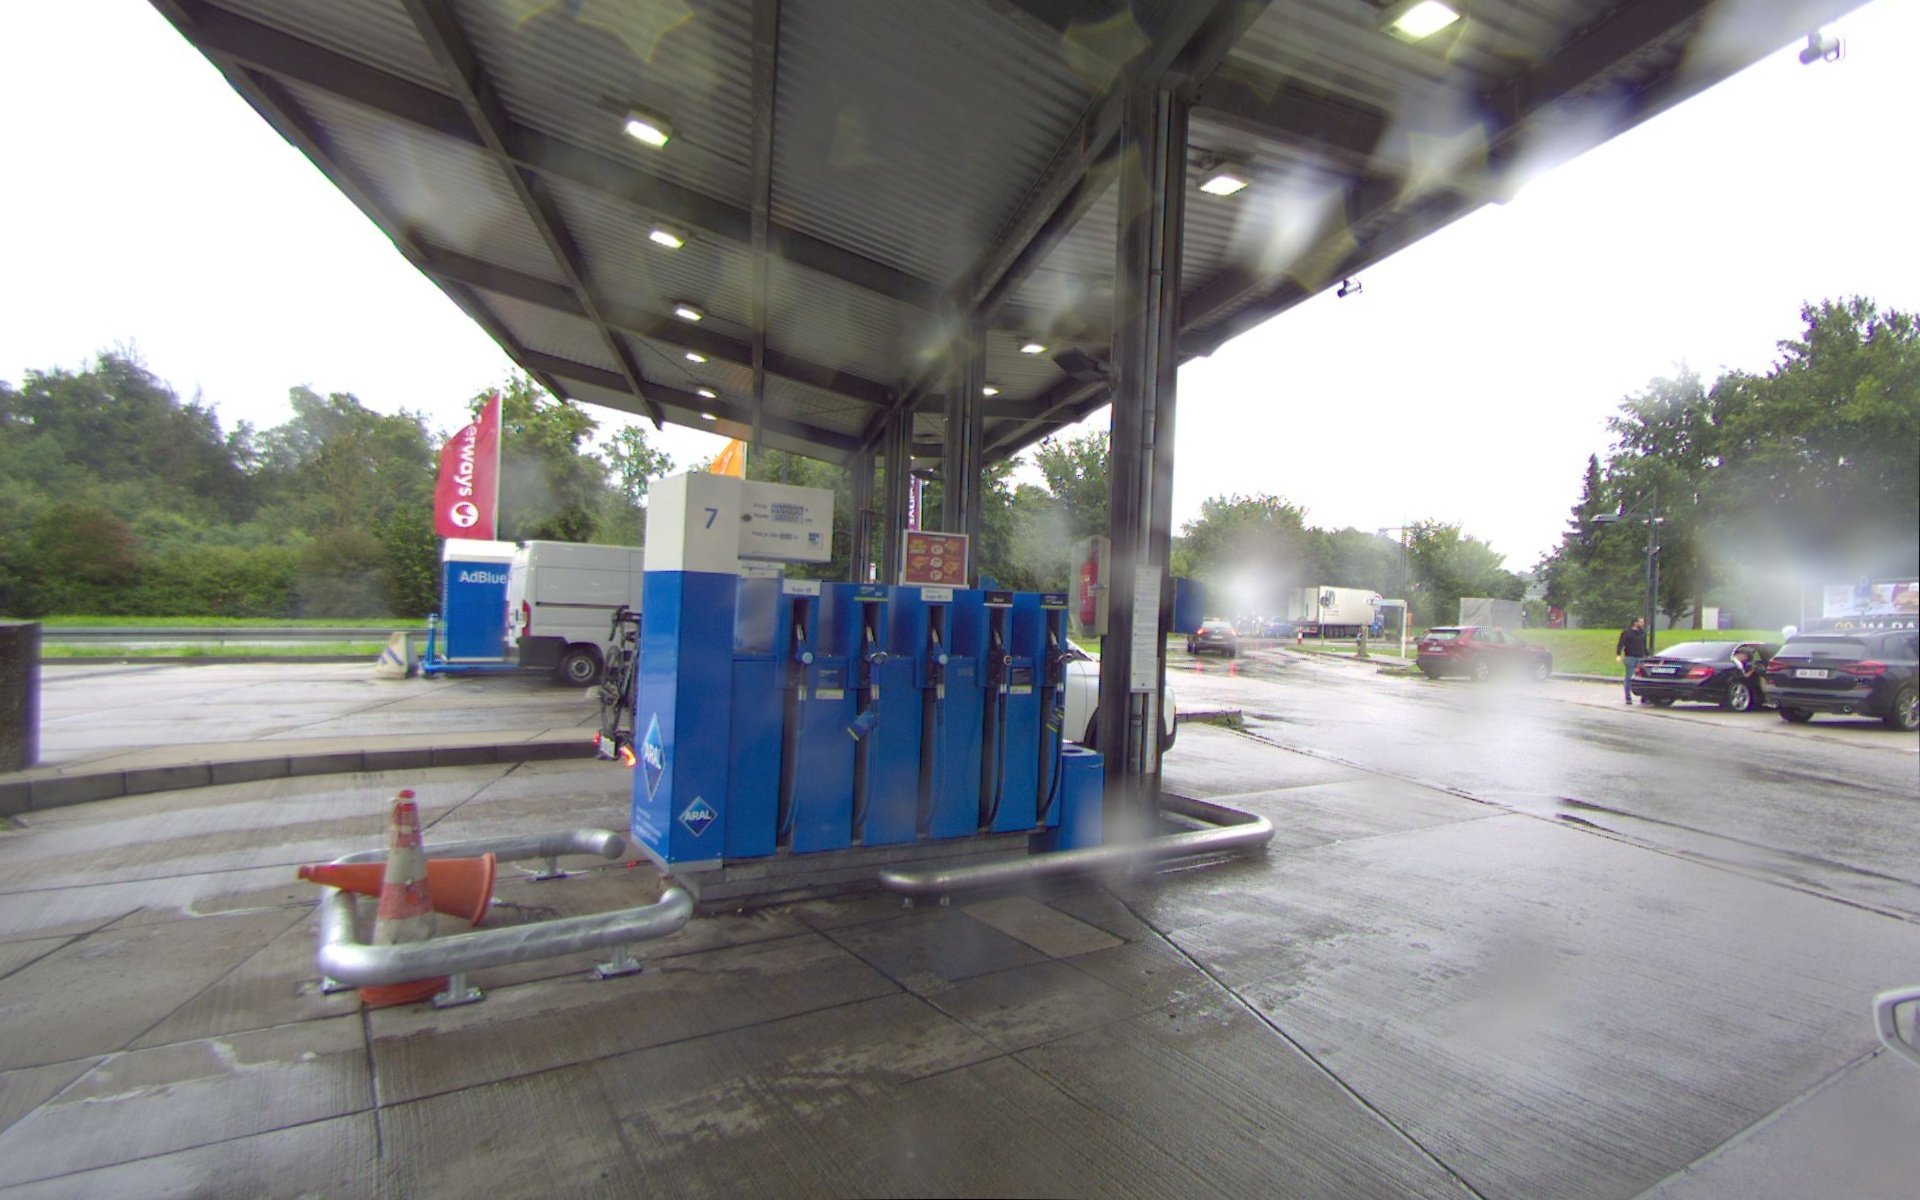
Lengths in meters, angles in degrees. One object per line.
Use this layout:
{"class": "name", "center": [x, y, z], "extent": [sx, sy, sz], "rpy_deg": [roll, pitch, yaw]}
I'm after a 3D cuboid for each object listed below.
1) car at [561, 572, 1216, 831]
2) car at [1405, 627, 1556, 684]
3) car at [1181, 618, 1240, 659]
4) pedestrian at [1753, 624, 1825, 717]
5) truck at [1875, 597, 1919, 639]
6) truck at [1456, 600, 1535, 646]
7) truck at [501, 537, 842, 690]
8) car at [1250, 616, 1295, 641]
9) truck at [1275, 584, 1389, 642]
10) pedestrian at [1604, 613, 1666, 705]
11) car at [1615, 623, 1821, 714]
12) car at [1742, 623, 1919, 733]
{"class": "car", "center": [-0.436, 0.702, 8.450], "extent": [5.210, 1.629, 1.852], "rpy_deg": [2, 0, -30]}
{"class": "car", "center": [16.063, 1.669, 30.995], "extent": [4.283, 1.666, 1.933], "rpy_deg": [1, -2, -25]}
{"class": "car", "center": [11.152, 1.694, 44.967], "extent": [1.960, 1.700, 4.002], "rpy_deg": [2, -1, 5]}
{"class": "pedestrian", "center": [15.337, 1.281, 18.615], "extent": [0.938, 1.653, 0.702], "rpy_deg": [2, 0, 35]}
{"class": "truck", "center": [68.837, 1.320, 71.698], "extent": [5.285, 2.959, 2.191], "rpy_deg": [2, 0, -5]}
{"class": "truck", "center": [38.405, 1.643, 71.895], "extent": [7.297, 3.126, 2.456], "rpy_deg": [2, 0, -40]}
{"class": "truck", "center": [-5.350, 0.293, 18.931], "extent": [5.793, 2.527, 2.221], "rpy_deg": [2, 0, -30]}
{"class": "car", "center": [22.886, 2.058, 73.430], "extent": [1.787, 1.704, 3.934], "rpy_deg": [2, 0, 40]}
{"class": "truck", "center": [31.861, 1.181, 85.146], "extent": [3.498, 4.397, 16.922], "rpy_deg": [2, 0, 40]}
{"class": "pedestrian", "center": [14.503, 1.246, 21.596], "extent": [0.690, 1.912, 0.894], "rpy_deg": [2, 0, 2]}
{"class": "car", "center": [15.930, 1.357, 21.083], "extent": [4.293, 1.734, 2.007], "rpy_deg": [1, -2, -31]}
{"class": "car", "center": [16.160, 1.272, 17.460], "extent": [4.274, 1.734, 2.016], "rpy_deg": [1, -1, -18]}
